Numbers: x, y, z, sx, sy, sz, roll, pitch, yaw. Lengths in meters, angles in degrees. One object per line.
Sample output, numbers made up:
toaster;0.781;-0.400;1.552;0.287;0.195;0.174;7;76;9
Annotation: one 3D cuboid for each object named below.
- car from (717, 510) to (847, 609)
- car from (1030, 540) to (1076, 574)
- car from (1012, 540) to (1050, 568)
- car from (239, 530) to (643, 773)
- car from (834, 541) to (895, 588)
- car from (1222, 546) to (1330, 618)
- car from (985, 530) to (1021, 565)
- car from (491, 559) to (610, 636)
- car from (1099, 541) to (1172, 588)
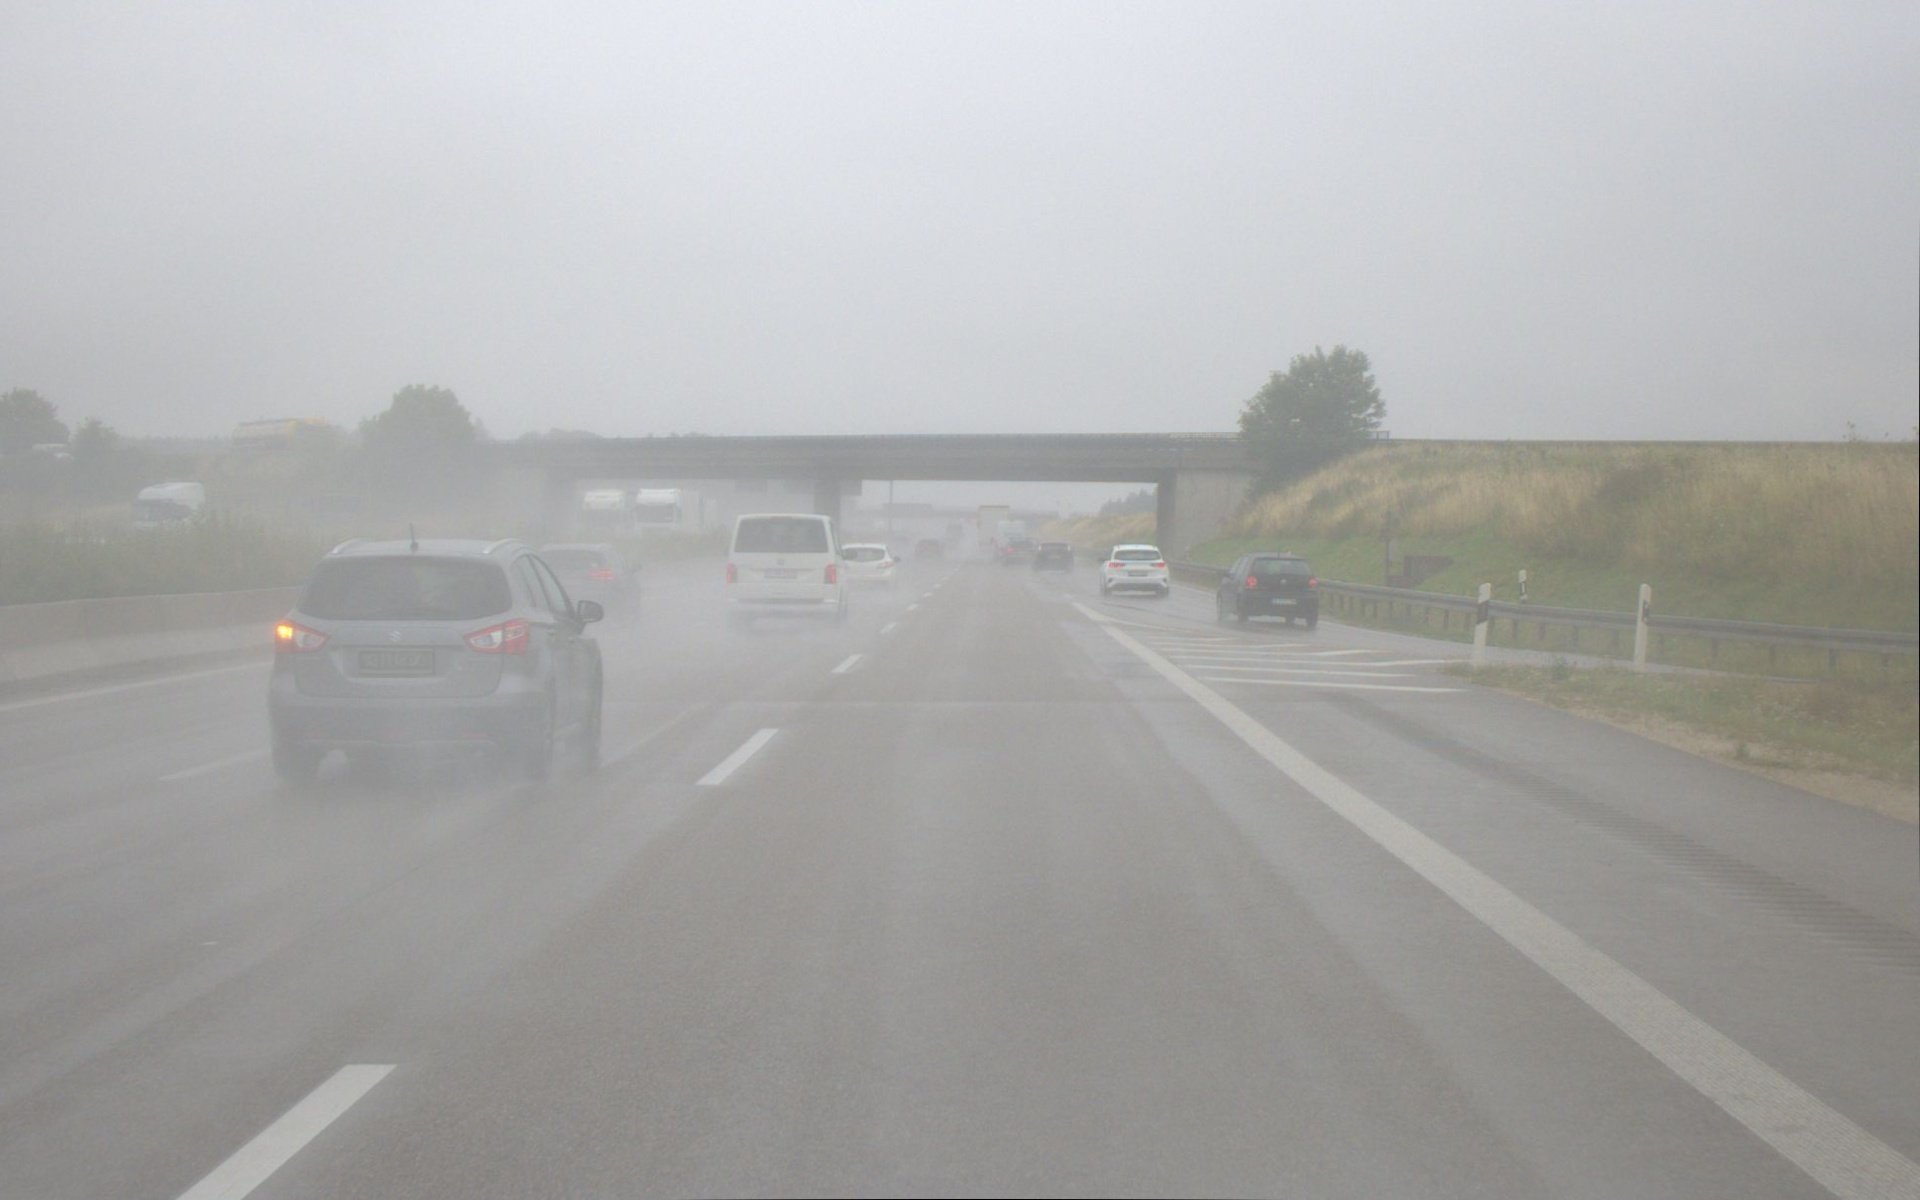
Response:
car;-2.939;-0.663;57.354;1.897;1.580;4.000;1;0;1
car;4.125;-1.914;152.487;1.801;1.503;4.000;0;1;-2
car;3.749;-2.449;182.234;1.993;1.459;4.000;0;1;0
car;-3.454;0.286;23.784;1.846;1.508;4.756;0;1;3
car;-2.559;-0.958;92.616;1.468;1.204;2.991;1;0;1
car;6.485;-0.392;70.903;1.731;1.416;3.658;0;1;-2
car;2.614;-3.161;208.419;1.993;2.094;4.000;0;1;-2
car;-7.434;-0.061;62.704;1.613;1.349;4.000;1;0;1
car;4.931;-0.996;96.698;1.994;1.262;4.000;1;0;3
